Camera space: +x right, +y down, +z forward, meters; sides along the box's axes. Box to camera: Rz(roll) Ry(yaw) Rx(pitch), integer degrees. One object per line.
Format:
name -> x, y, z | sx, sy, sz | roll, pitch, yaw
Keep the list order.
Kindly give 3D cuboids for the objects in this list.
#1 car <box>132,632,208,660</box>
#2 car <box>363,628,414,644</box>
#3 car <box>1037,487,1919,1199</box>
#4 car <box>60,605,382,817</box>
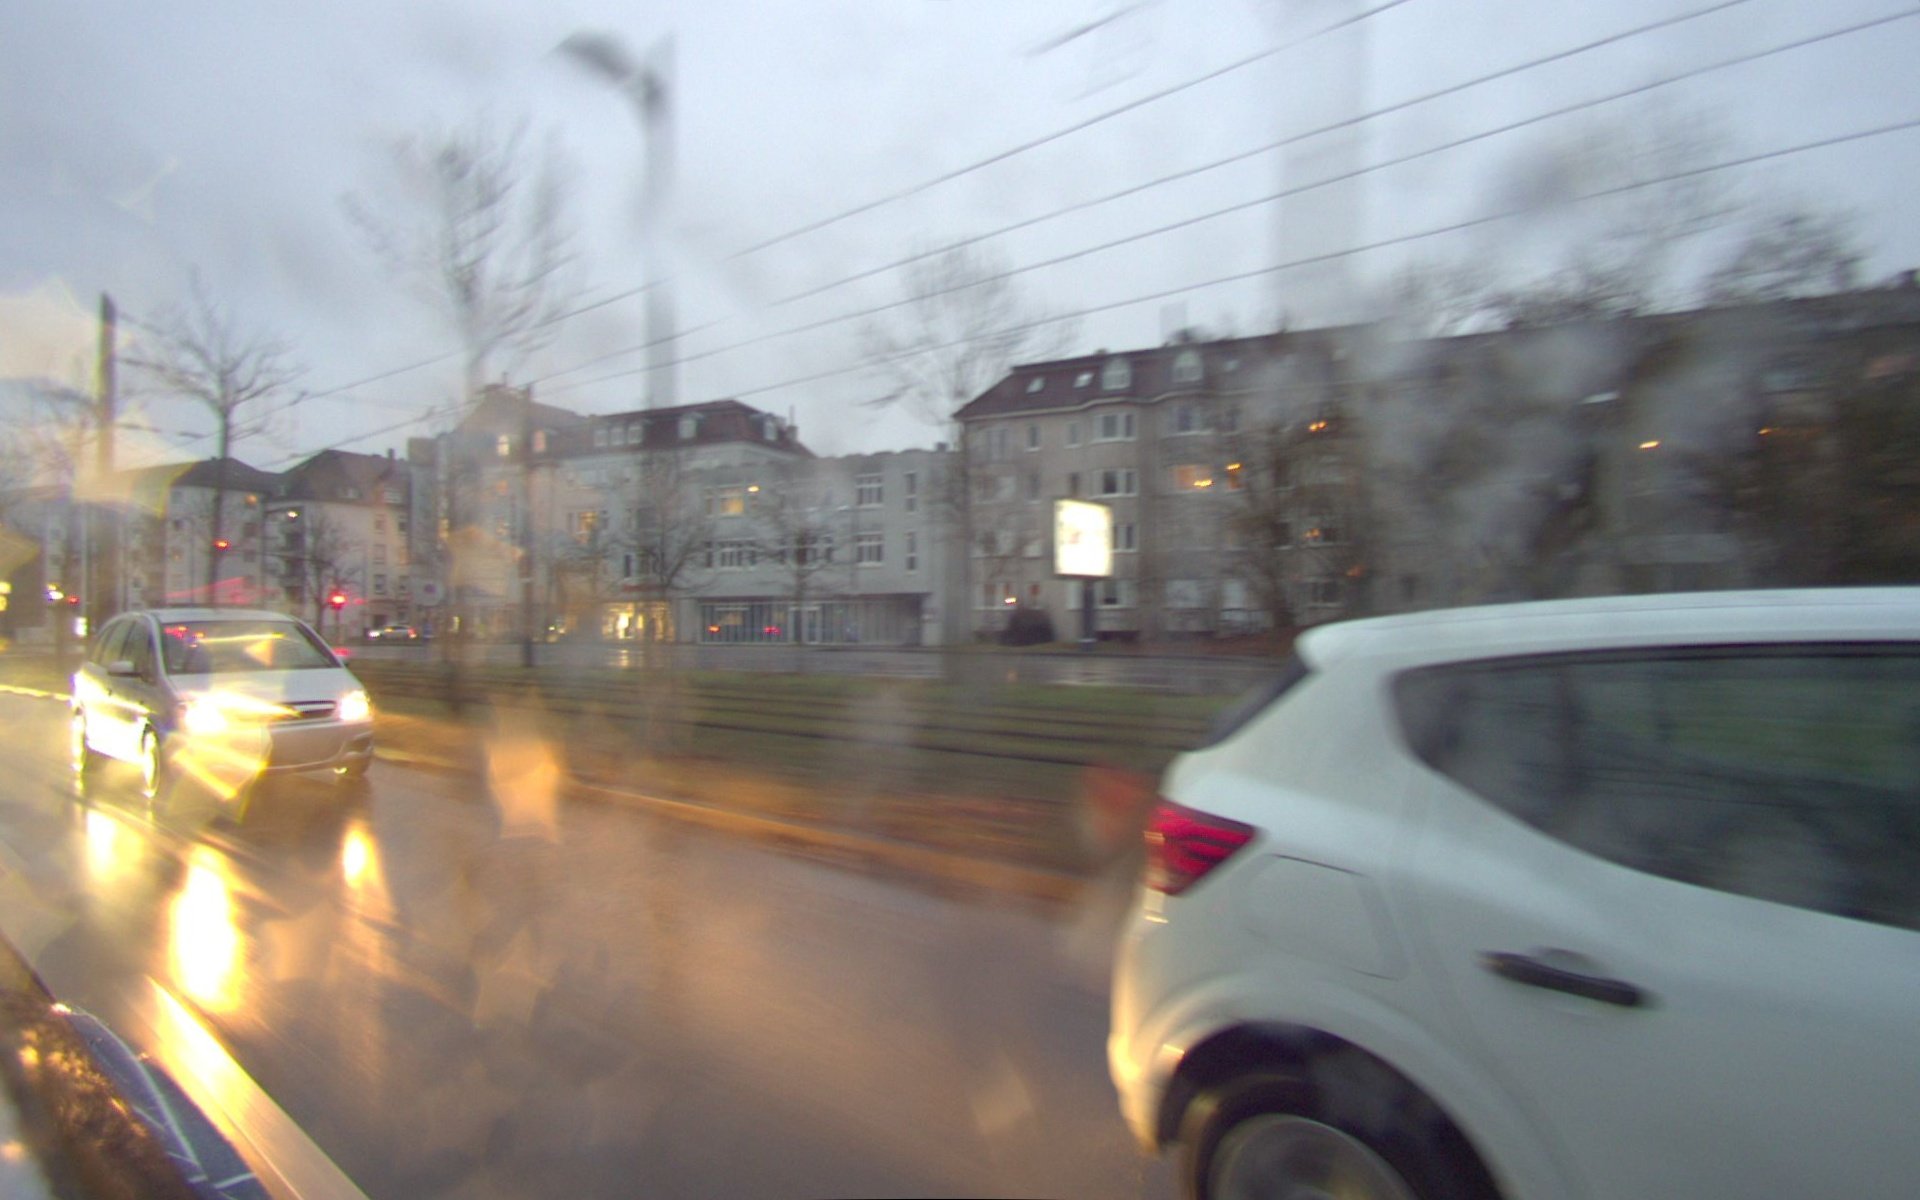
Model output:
car -> -40.917, 2.350, 52.373 | 4.278, 1.365, 1.876 | -2, -2, 34
car -> -54.313, 3.433, 96.204 | 1.771, 1.487, 3.859 | -2, -2, 30
car -> 2.258, 0.621, 1.478 | 4.134, 1.536, 1.690 | -1, -1, 43
car -> -7.071, 0.881, 9.540 | 3.921, 1.587, 1.648 | -2, -2, 41
